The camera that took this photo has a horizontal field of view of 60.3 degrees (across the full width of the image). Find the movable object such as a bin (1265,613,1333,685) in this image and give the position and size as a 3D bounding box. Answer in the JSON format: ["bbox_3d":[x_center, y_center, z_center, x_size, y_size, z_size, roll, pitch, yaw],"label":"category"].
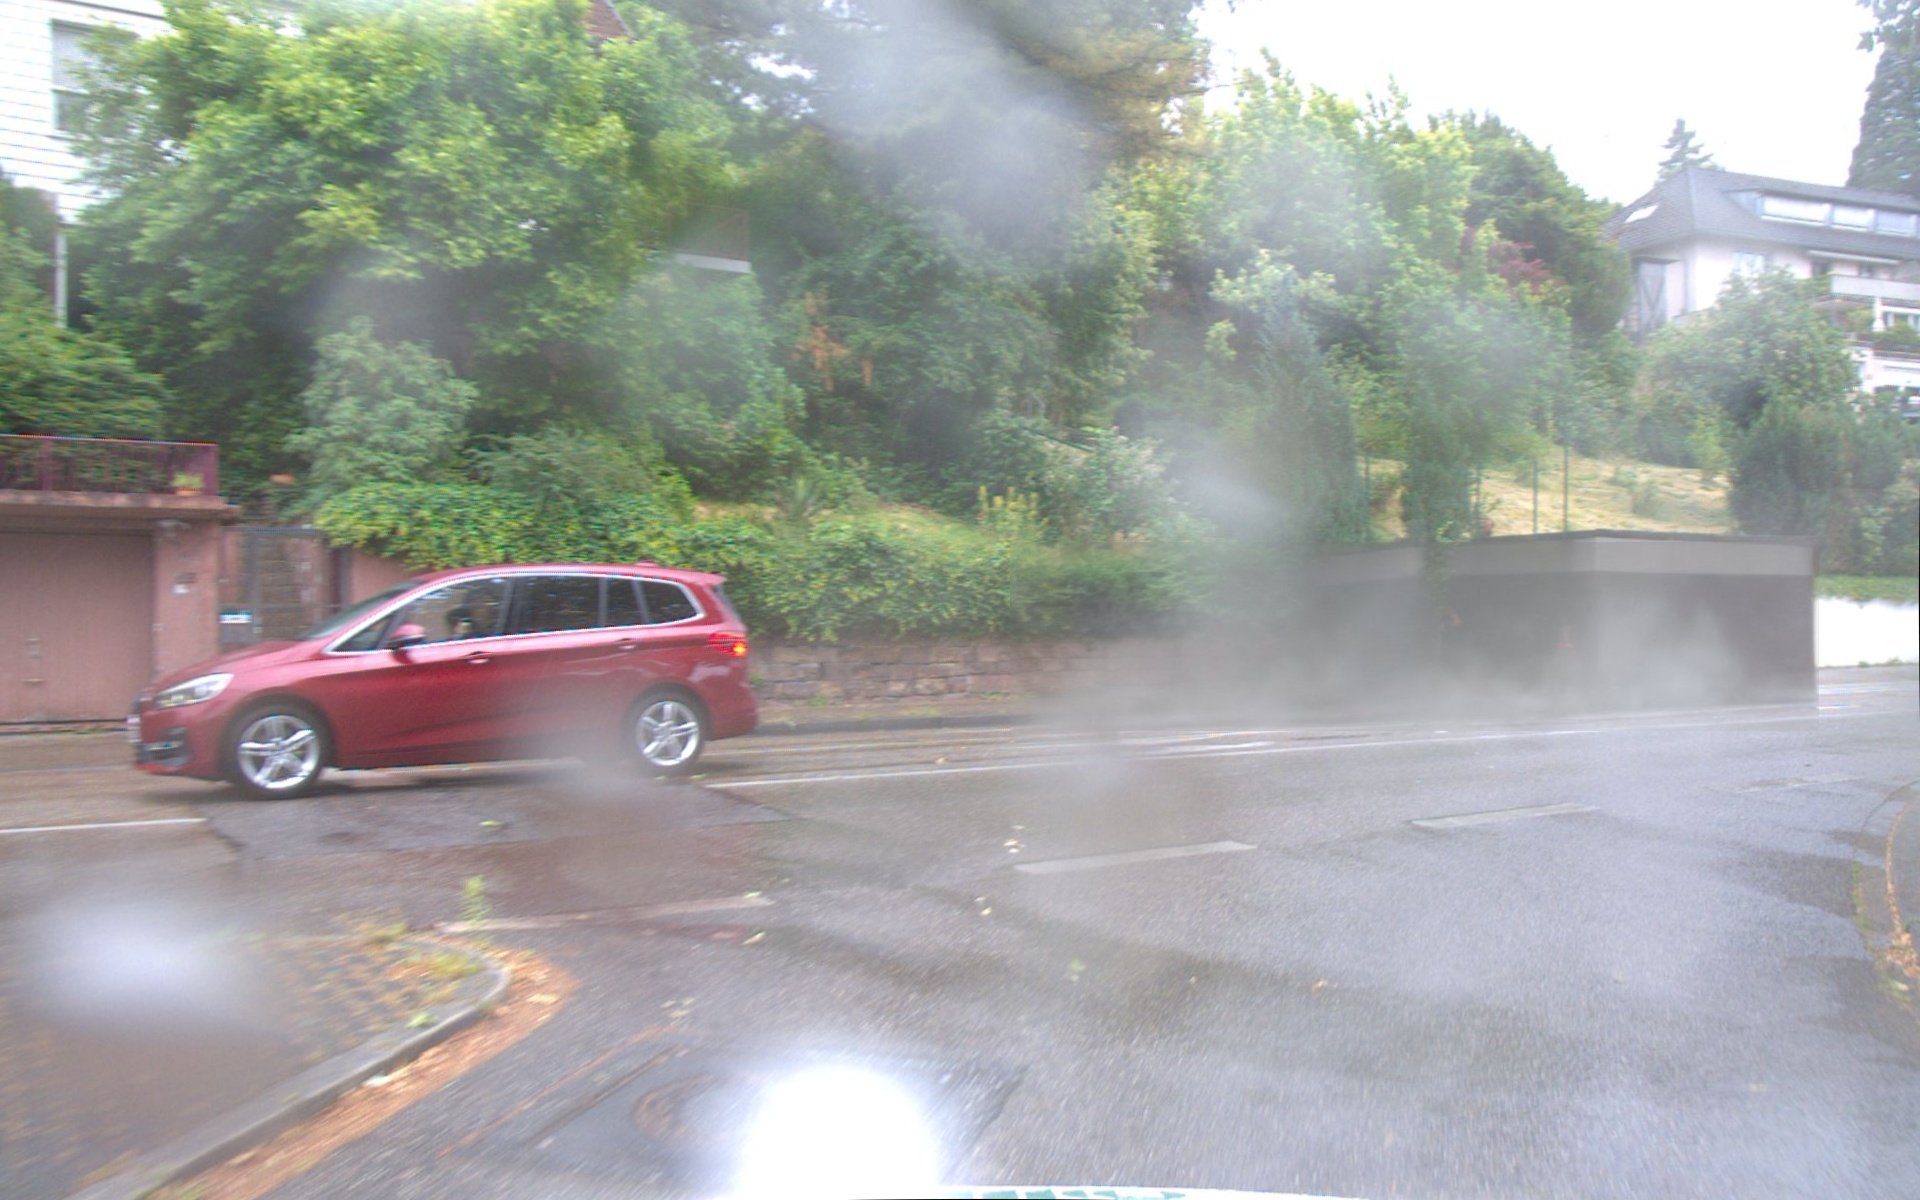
[{"bbox_3d":[5.230,0.750,25.537,0.744,1.079,0.681,-1,-1,-31],"label":"movable object such as a bin"}]

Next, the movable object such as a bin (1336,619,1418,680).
[{"bbox_3d":[6.690,0.787,26.558,0.942,0.932,0.843,-1,-1,-32],"label":"movable object such as a bin"}]

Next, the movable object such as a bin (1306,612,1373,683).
[{"bbox_3d":[5.939,0.741,25.880,0.783,1.079,0.630,-1,-1,-31],"label":"movable object such as a bin"}]

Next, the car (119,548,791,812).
[{"bbox_3d":[-3.702,0.488,12.368,4.521,1.629,1.756,-2,-1,-31],"label":"car"}]
